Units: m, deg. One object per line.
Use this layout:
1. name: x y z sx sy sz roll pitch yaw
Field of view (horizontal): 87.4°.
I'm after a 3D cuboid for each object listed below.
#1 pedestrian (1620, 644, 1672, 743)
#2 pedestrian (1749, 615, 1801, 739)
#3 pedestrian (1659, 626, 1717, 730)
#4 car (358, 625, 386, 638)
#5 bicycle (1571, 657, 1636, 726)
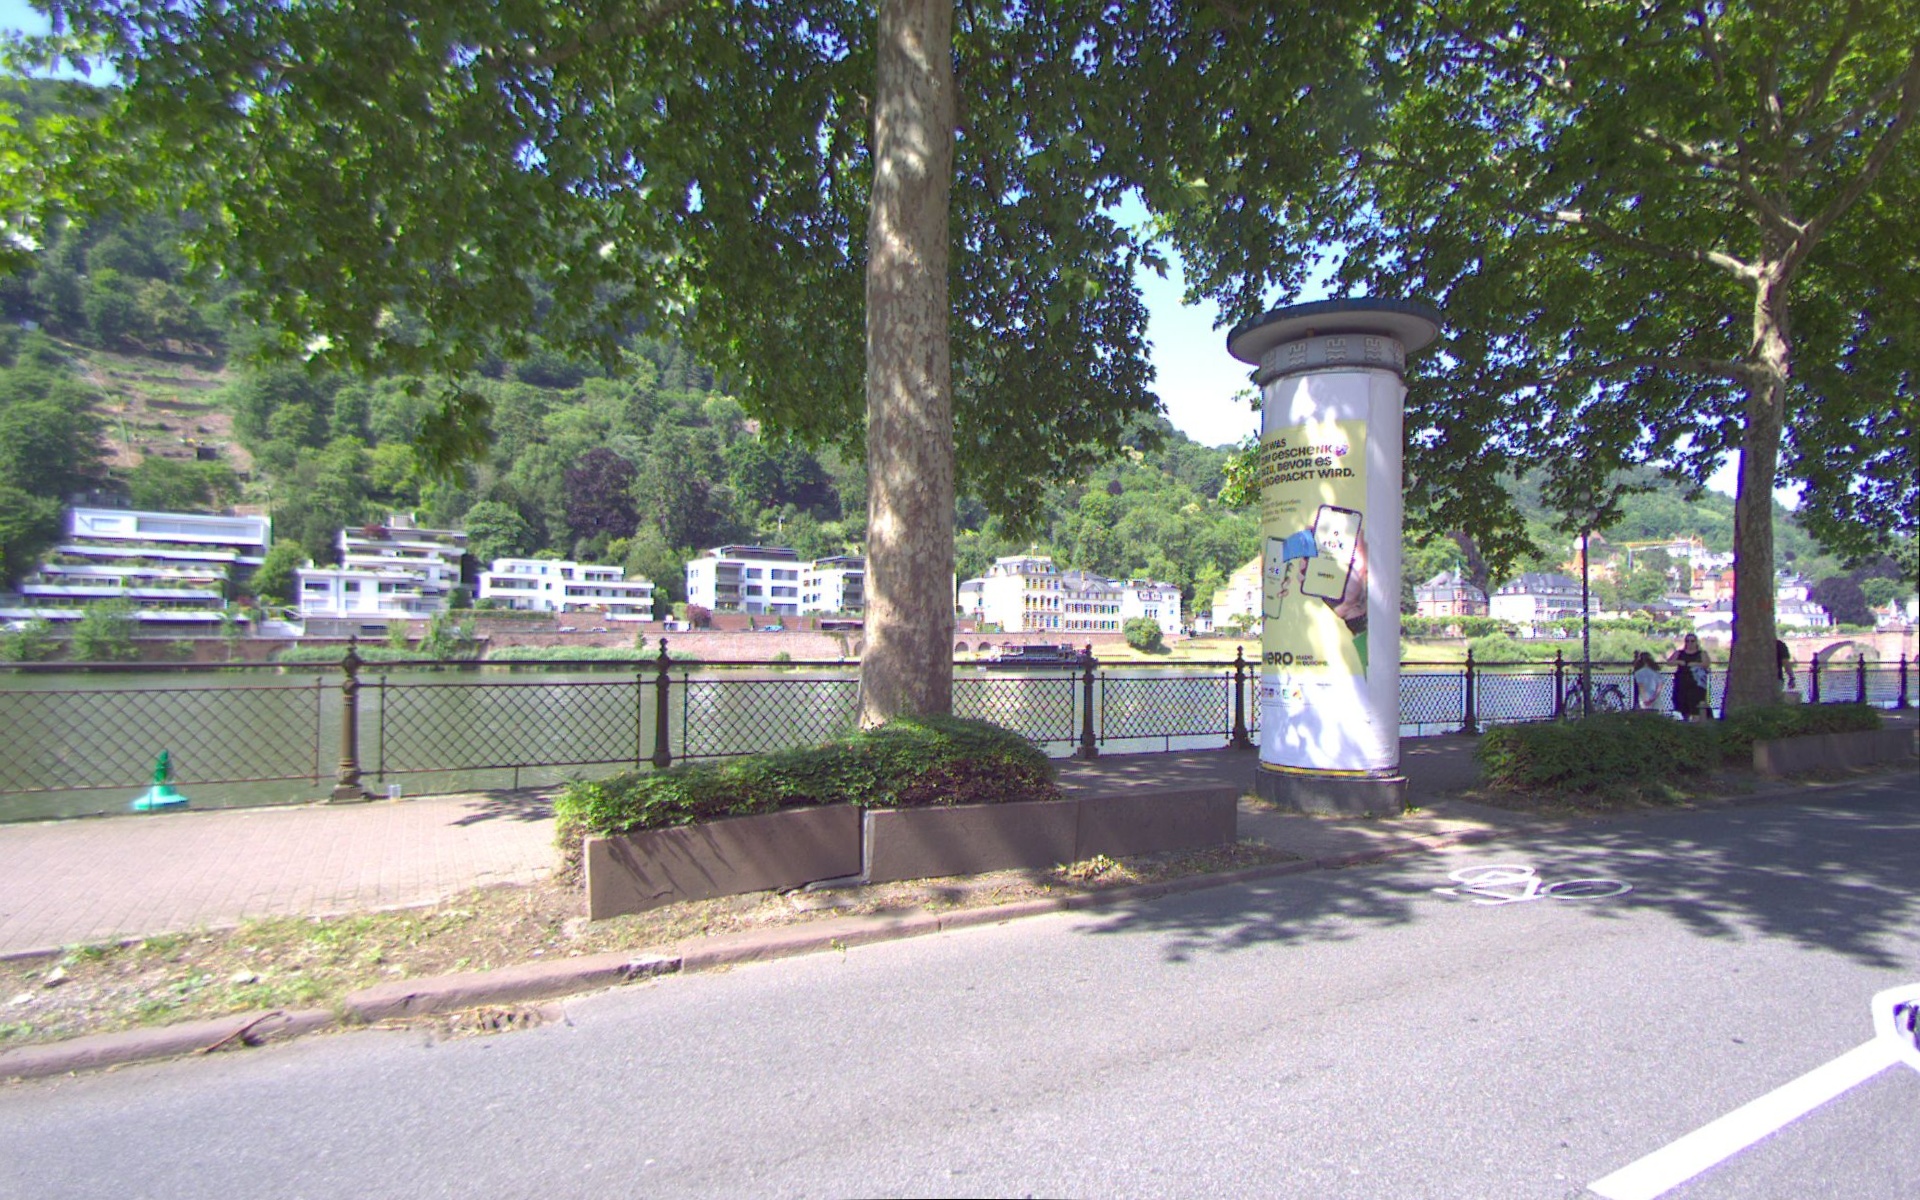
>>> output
1. pedestrian: 9.978 1.346 14.617 0.412 1.381 0.477 1 0 -26
2. pedestrian: 12.893 1.202 15.896 0.431 1.912 0.532 2 -1 -30
3. pedestrian: 12.277 1.303 16.944 0.577 1.708 0.598 1 -2 -31
4. car: -98.464 5.228 168.278 3.953 2.040 1.984 0 0 -30
5. bicycle: 10.798 1.519 16.843 1.281 1.106 0.357 2 1 -31
